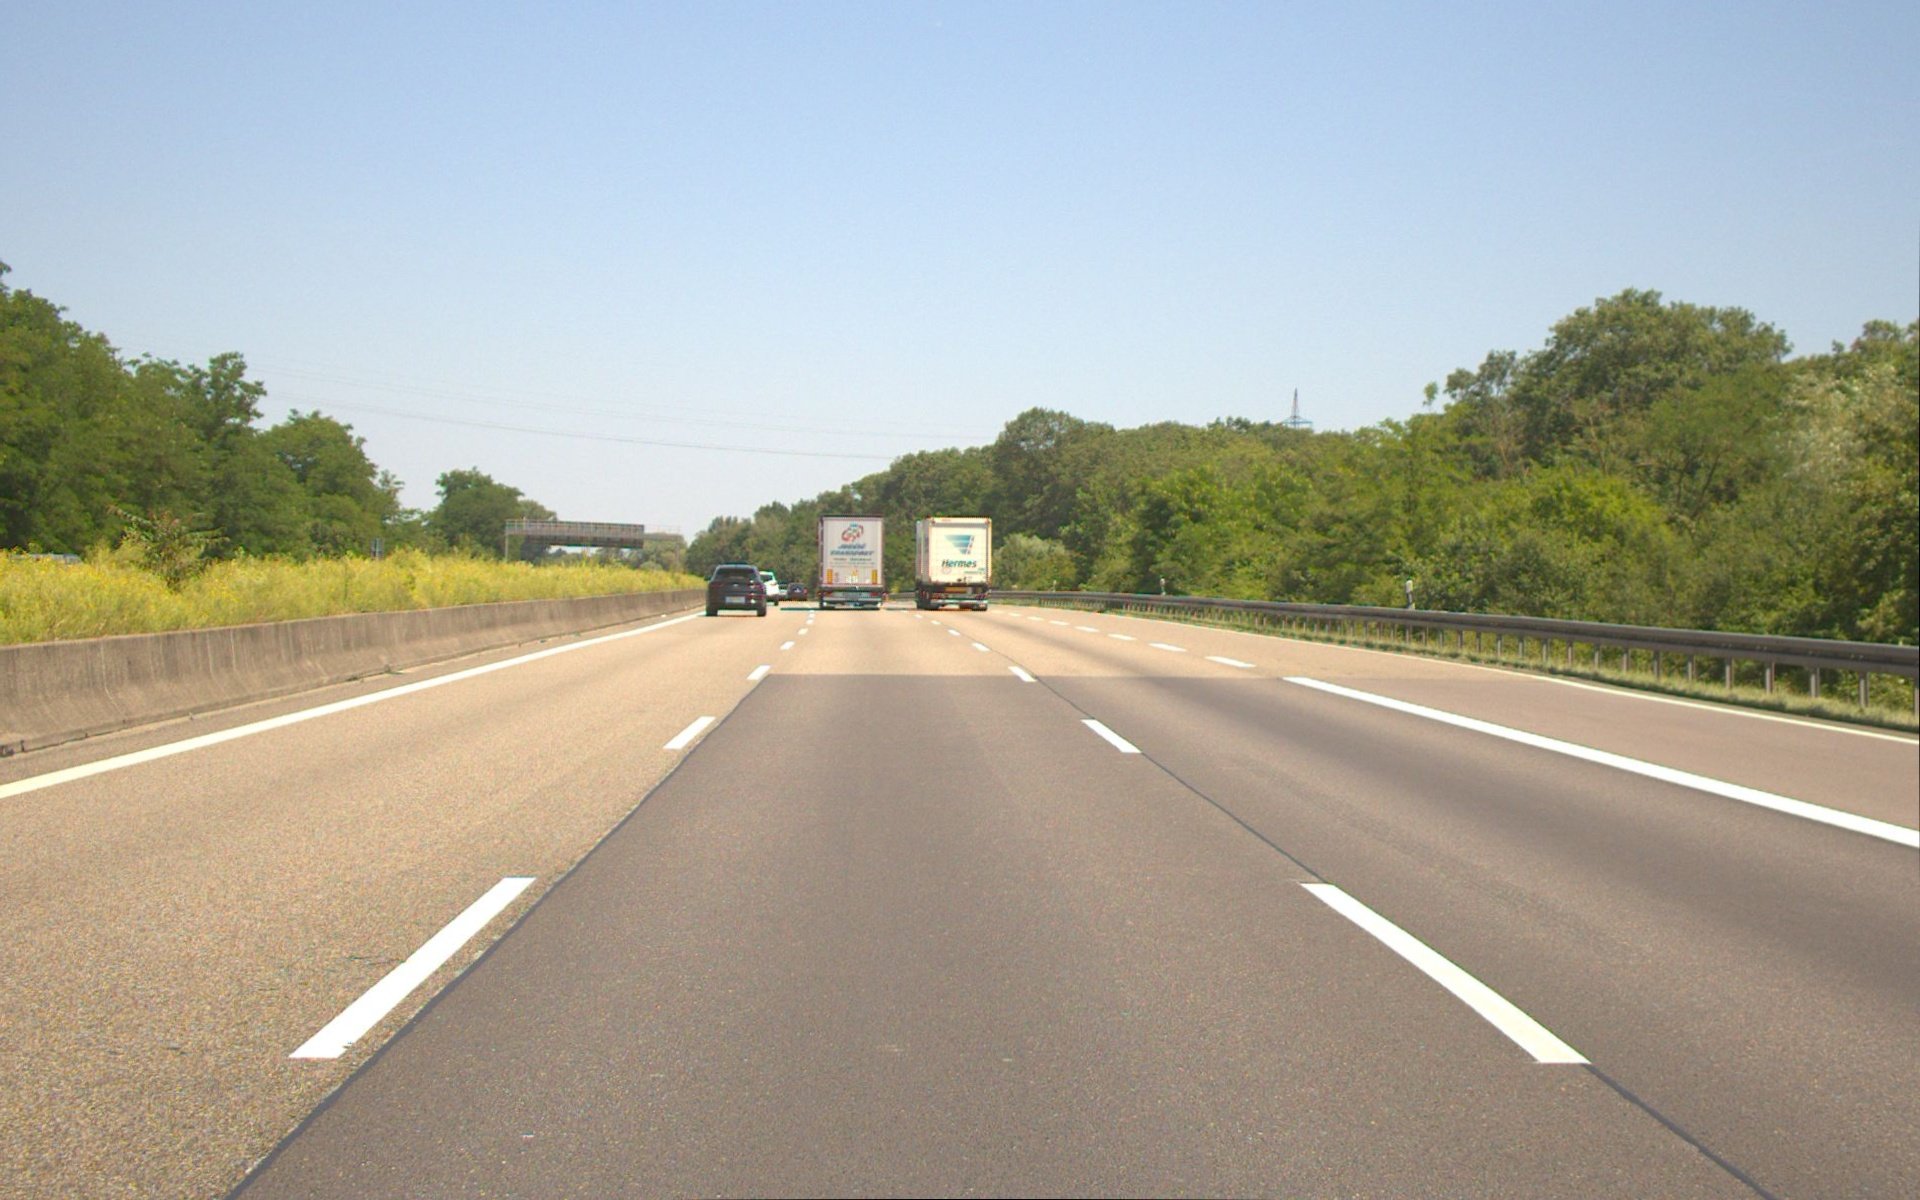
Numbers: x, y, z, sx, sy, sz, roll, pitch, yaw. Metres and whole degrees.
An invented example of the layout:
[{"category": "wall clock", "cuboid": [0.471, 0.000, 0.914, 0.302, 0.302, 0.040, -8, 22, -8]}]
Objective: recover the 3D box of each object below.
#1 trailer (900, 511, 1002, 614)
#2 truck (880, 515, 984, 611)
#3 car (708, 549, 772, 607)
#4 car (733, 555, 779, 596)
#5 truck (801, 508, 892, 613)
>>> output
[{"category": "trailer", "cuboid": [-0.449, -1.625, 145.332, 3.367, 4.128, 9.093, 1, 1, -6]}, {"category": "truck", "cuboid": [-1.320, -1.691, 153.238, 3.325, 4.039, 10.956, 1, 1, -7]}, {"category": "car", "cuboid": [-7.420, -0.761, 116.086, 1.993, 1.868, 4.000, 1, 1, -2]}, {"category": "car", "cuboid": [-10.061, -1.219, 169.443, 1.993, 1.868, 4.001, 2, 1, -7]}, {"category": "truck", "cuboid": [-4.791, -1.677, 143.633, 3.229, 4.188, 8.467, 1, 1, -5]}]
